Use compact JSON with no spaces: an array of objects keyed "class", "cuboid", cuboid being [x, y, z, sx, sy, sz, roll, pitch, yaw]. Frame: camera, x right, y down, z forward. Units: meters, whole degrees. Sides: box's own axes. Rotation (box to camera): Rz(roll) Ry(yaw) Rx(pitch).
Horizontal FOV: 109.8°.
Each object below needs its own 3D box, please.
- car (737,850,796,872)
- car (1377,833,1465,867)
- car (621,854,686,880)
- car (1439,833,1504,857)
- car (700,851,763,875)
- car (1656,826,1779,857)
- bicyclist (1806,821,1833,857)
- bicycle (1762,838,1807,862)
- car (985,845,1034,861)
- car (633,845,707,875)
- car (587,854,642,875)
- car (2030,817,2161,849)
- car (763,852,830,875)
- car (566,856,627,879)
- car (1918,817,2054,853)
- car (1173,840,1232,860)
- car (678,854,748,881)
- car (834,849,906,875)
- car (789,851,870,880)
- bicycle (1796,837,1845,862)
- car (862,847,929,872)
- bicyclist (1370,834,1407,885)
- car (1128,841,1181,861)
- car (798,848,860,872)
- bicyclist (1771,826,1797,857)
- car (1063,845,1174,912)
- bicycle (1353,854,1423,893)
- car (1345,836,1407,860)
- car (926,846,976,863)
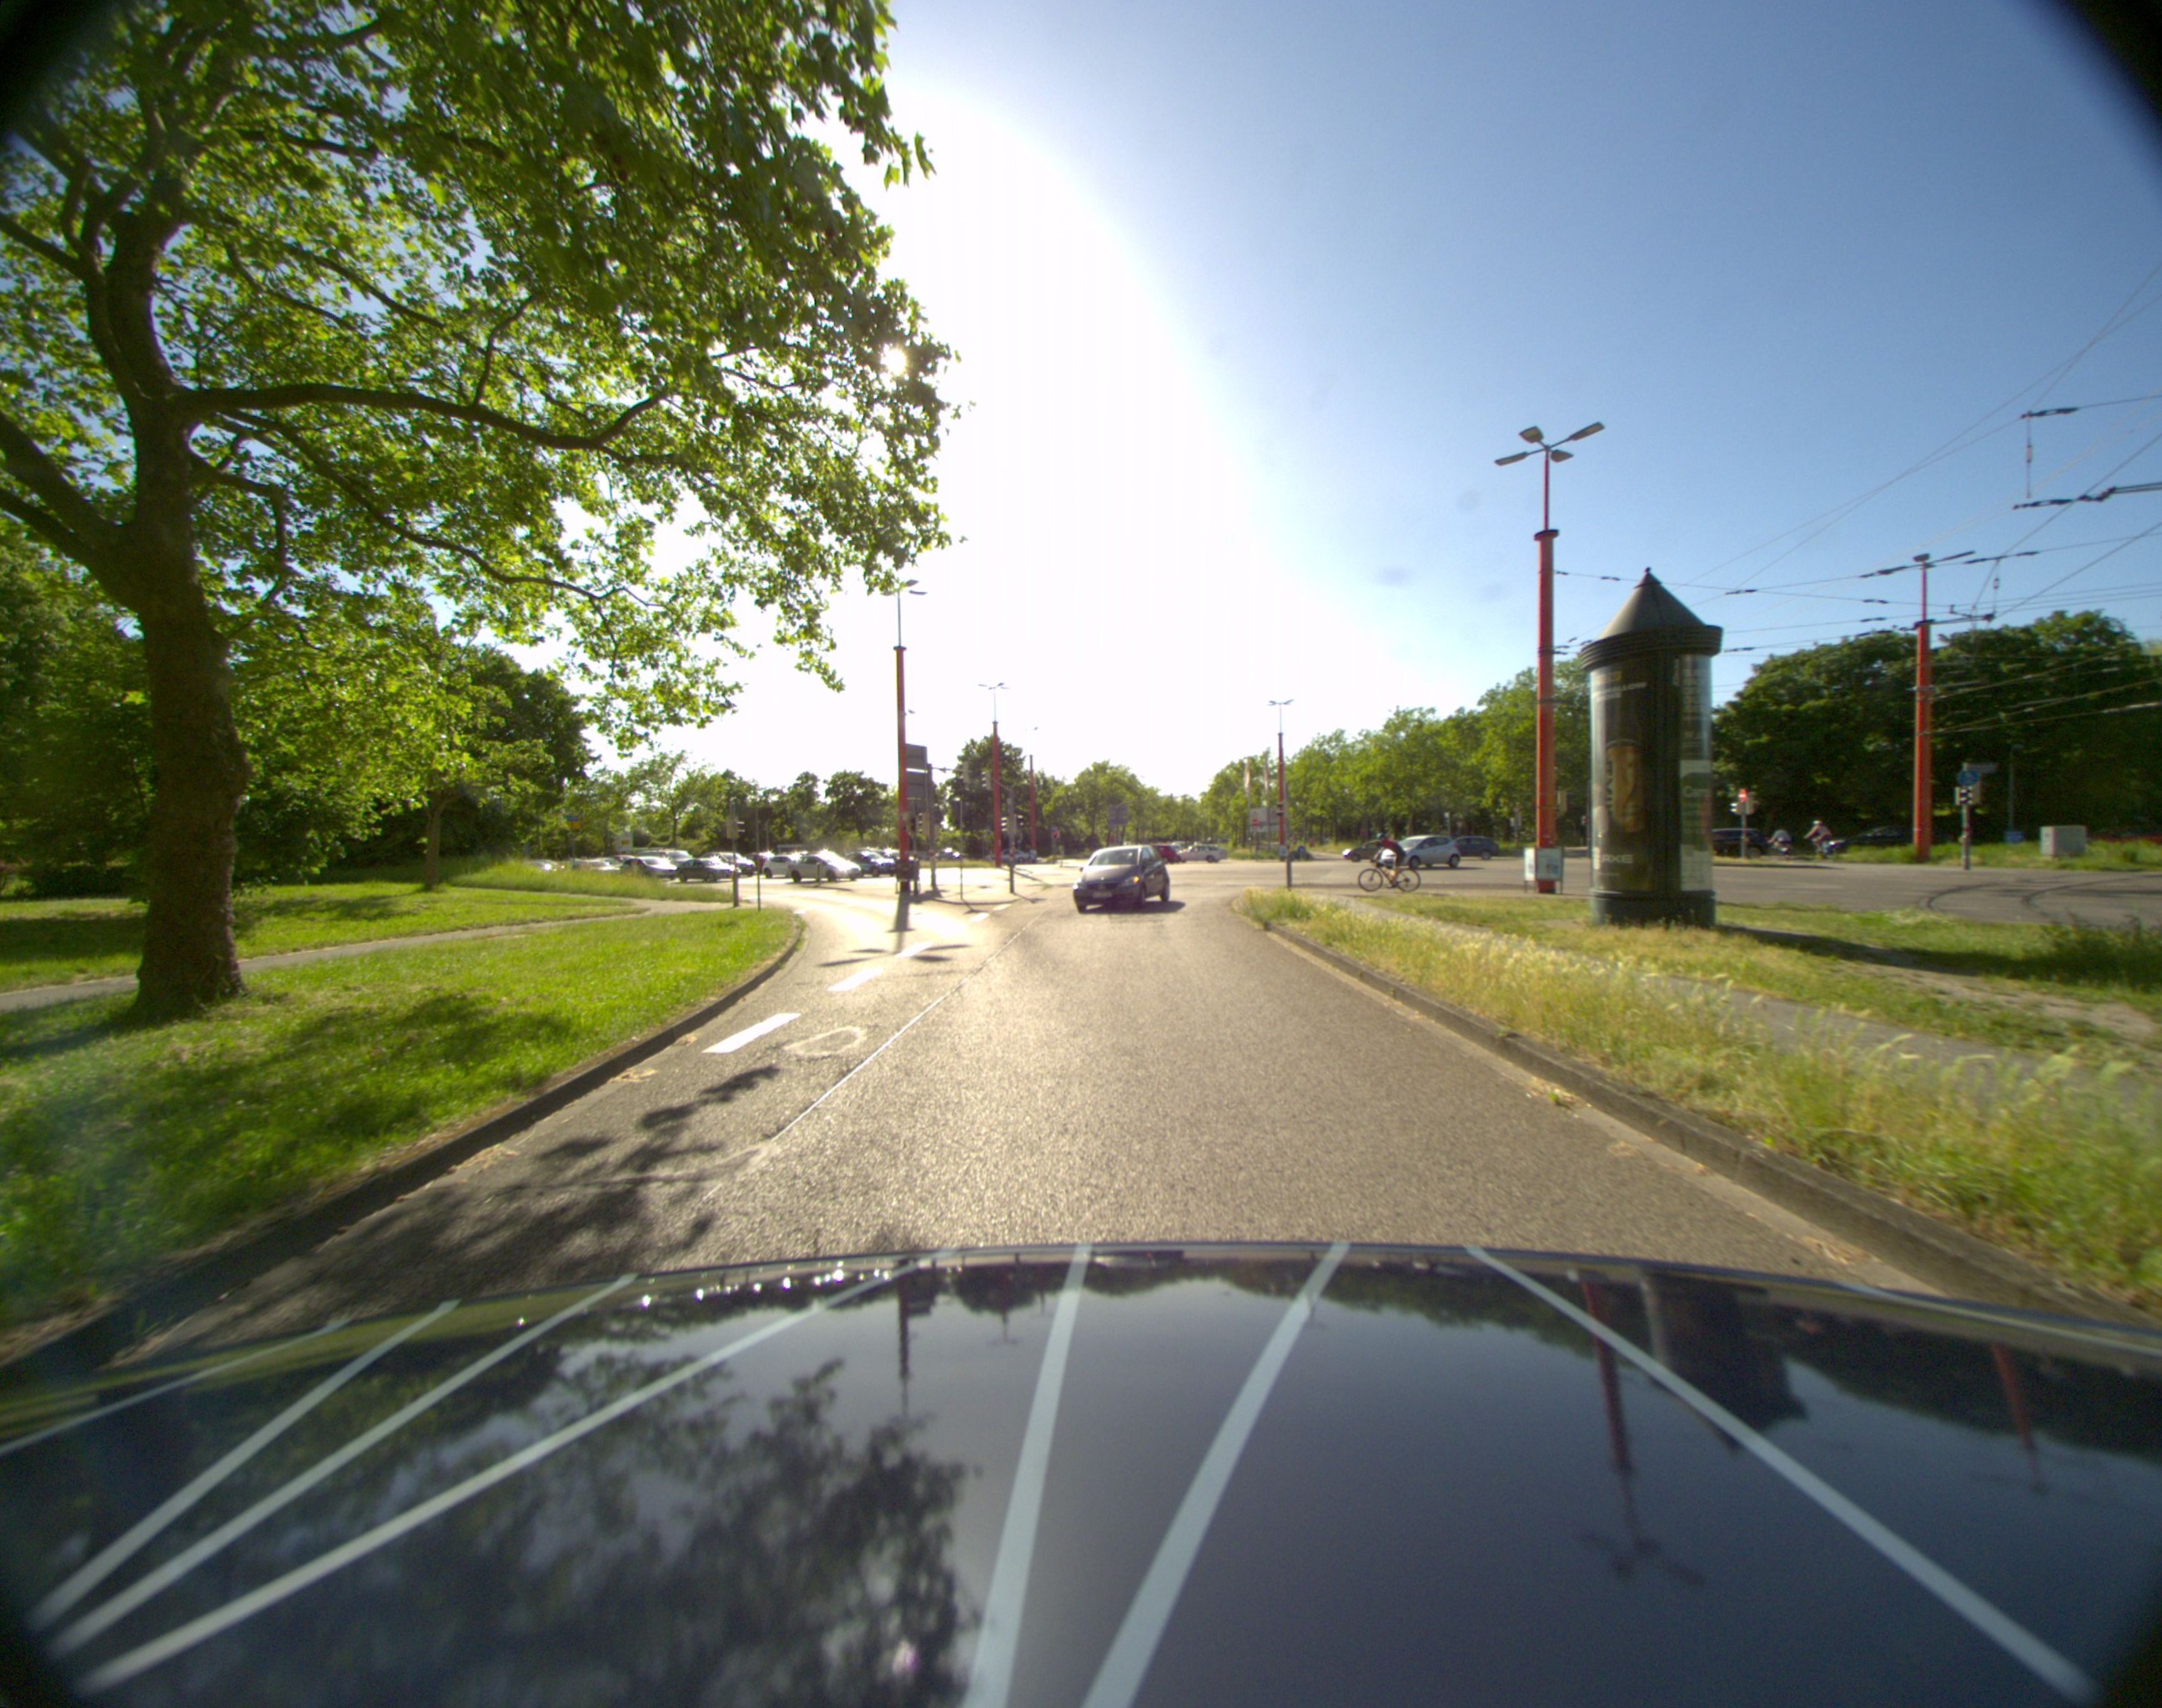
[{"class":"car","cuboid":[-22.847,0.494,55.207,3.989,1.473,1.803,-1,3,29]},{"class":"car","cuboid":[16.799,-0.190,37.587,3.908,1.579,1.702,-1,1,-21]},{"class":"car","cuboid":[-28.108,0.830,50.001,3.989,1.576,1.803,-1,3,29]},{"class":"car","cuboid":[26.185,-0.585,51.045,3.776,1.497,1.616,-1,1,26]},{"class":"car","cuboid":[-23.730,0.646,51.565,3.989,1.498,1.803,-1,3,29]},{"class":"car","cuboid":[33.393,-0.665,40.000,4.618,1.501,1.791,-1,1,14]},{"class":"bicyclist","cuboid":[34.048,-0.688,35.027,0.562,1.643,0.714,-1,2,3]},{"class":"bicycle","cuboid":[33.168,-0.195,35.845,0.499,1.101,1.800,-1,1,3]},{"class":"car","cuboid":[-7.235,-0.123,77.060,4.643,1.502,1.796,-2,1,-22]},{"class":"car","cuboid":[-29.914,0.449,55.290,5.180,2.075,2.095,-1,3,29]},{"class":"car","cuboid":[-36.182,0.820,58.903,3.989,1.502,1.803,-1,3,29]},{"class":"car","cuboid":[51.381,-1.017,38.321,3.990,1.501,1.803,-1,1,27]},{"class":"car","cuboid":[-18.210,0.612,48.612,3.989,1.384,1.803,-1,3,29]},{"class":"car","cuboid":[-33.925,0.934,53.164,3.989,1.502,1.803,-1,3,29]},{"class":"car","cuboid":[44.865,-0.911,37.800,3.989,1.645,1.803,-1,1,31]},{"class":"car","cuboid":[9.556,-0.312,59.926,4.236,1.501,1.803,-1,1,26]},{"class":"car","cuboid":[-22.474,0.795,46.383,3.989,1.502,1.803,-1,3,29]},{"class":"car","cuboid":[-12.773,0.479,45.898,3.989,1.473,1.803,-1,3,29]},{"class":"car","cuboid":[-14.035,0.643,42.354,4.274,1.473,1.803,-1,3,29]},{"class":"bicycle","cuboid":[34.059,-0.203,35.041,0.562,1.101,1.800,-1,1,3]},{"class":"car","cuboid":[-12.067,0.350,49.378,3.989,1.473,1.803,-1,3,29]},{"class":"bicyclist","cuboid":[9.134,0.156,22.583,0.955,1.469,0.704,-1,2,25]},{"class":"car","cuboid":[5.524,-0.223,57.106,3.662,1.450,1.592,-1,1,26]},{"class":"car","cuboid":[-17.514,0.403,52.785,3.989,1.502,1.803,-1,3,29]},{"class":"bicyclist","cuboid":[33.159,-0.580,35.834,0.499,1.439,0.778,-1,2,3]},{"class":"car","cuboid":[1.101,0.581,20.233,1.796,1.580,3.768,-1,1,21]},{"class":"bicycle","cuboid":[9.136,0.579,22.602,1.896,1.101,0.704,-1,2,25]},{"class":"car","cuboid":[19.587,-0.405,50.413,3.777,1.501,1.616,-1,1,22]},{"class":"car","cuboid":[-11.261,0.062,65.941,3.990,1.361,1.803,-1,1,27]}]
